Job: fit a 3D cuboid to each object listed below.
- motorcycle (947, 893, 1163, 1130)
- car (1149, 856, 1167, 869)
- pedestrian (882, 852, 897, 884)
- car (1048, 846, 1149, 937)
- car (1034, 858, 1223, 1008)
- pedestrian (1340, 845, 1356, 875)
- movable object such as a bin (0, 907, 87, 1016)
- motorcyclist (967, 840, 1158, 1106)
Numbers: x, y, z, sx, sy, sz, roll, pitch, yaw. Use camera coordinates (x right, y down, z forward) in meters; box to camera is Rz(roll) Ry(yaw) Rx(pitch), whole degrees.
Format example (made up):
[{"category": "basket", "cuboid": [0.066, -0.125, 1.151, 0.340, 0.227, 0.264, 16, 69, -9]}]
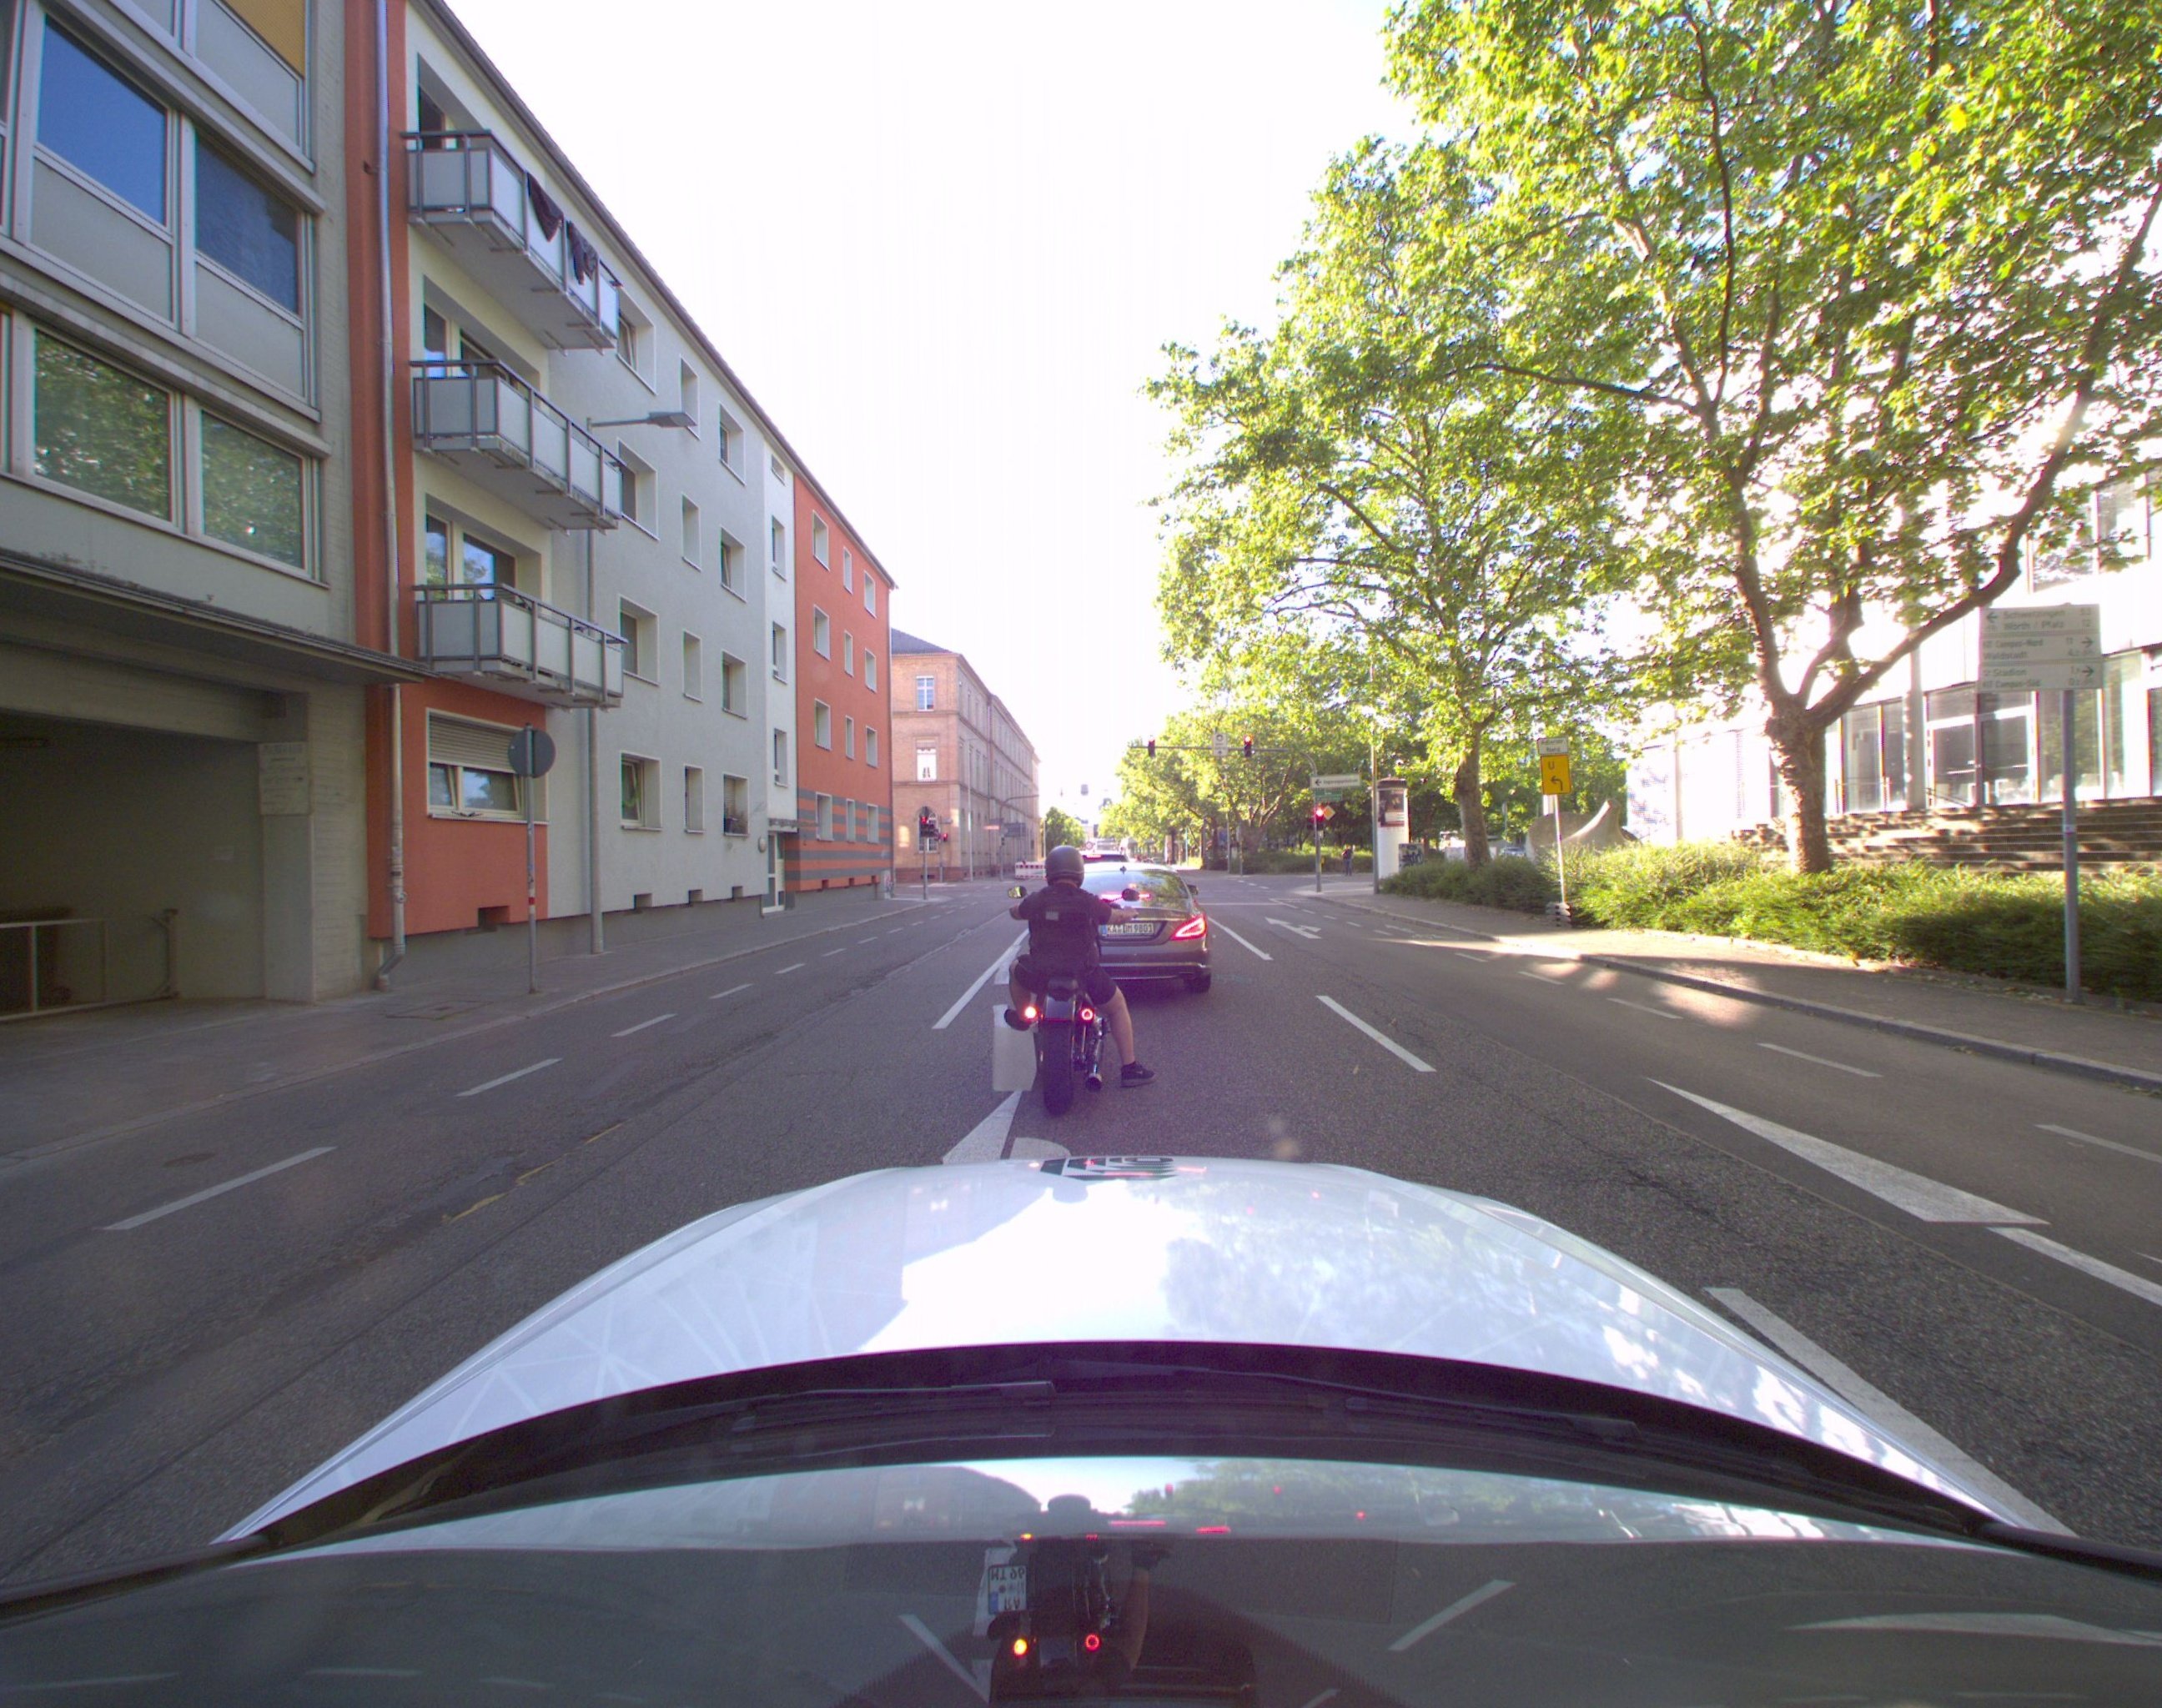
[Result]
[{"category": "motorcycle", "cuboid": [-0.043, 0.916, 5.628, 1.111, 1.207, 2.217, -1, -1, 8]}, {"category": "car", "cuboid": [8.016, 0.869, 84.617, 1.625, 1.259, 3.717, 0, -1, 2]}, {"category": "pedestrian", "cuboid": [-11.098, 0.816, 47.175, 0.735, 1.820, 0.644, 0, -1, 1]}, {"category": "car", "cuboid": [0.380, 0.715, 17.073, 1.856, 1.678, 4.001, 0, -1, 2]}, {"category": "car", "cuboid": [0.519, 0.783, 9.785, 1.815, 1.437, 3.807, 0, -1, 2]}, {"category": "pedestrian", "cuboid": [16.094, 0.350, 49.150, 0.728, 1.778, 0.734, -1, -1, 32]}, {"category": "movable object such as a bin", "cuboid": [-11.285, 1.123, 8.652, 0.533, 1.079, 0.723, 0, -1, 3]}, {"category": "motorcyclist", "cuboid": [-0.071, 0.708, 5.409, 1.093, 1.566, 1.074, -1, -1, 8]}]
